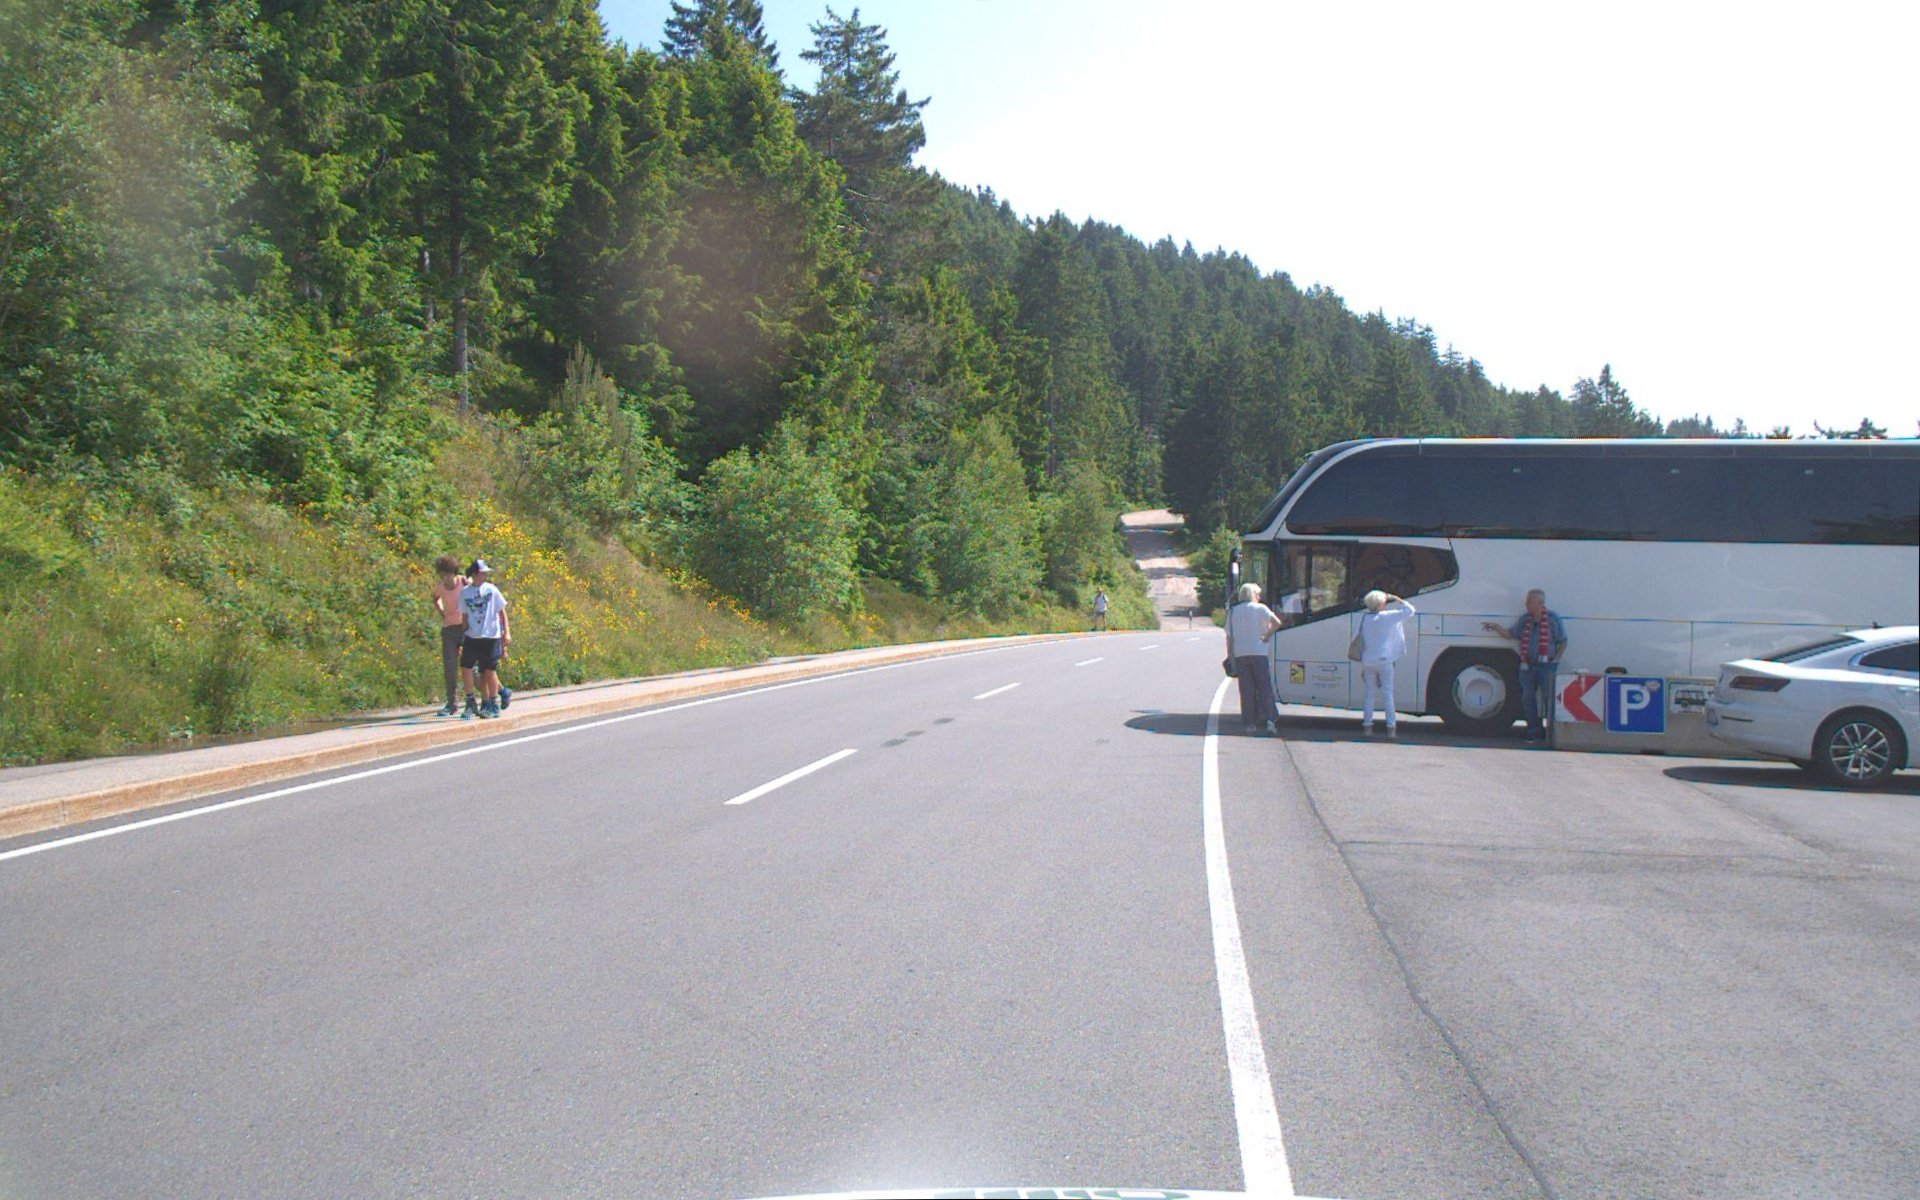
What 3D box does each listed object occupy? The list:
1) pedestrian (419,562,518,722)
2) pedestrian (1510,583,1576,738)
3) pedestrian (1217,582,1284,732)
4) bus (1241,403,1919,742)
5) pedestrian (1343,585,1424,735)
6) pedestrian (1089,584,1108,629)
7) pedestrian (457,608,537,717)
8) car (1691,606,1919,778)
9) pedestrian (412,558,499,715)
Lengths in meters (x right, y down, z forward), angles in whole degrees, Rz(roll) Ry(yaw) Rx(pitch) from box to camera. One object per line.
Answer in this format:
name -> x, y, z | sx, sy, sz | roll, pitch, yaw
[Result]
pedestrian -> -4.950, 0.402, 16.682 | 0.568, 1.564, 0.880 | 0, 1, 16
pedestrian -> 6.458, 0.654, 18.335 | 0.630, 1.671, 0.745 | 0, 1, 15
pedestrian -> 3.303, 0.627, 18.838 | 0.692, 1.671, 0.745 | 0, 1, 5
bus -> 9.781, -0.317, 19.375 | 12.573, 3.640, 2.841 | 1, 0, 15
pedestrian -> 4.724, 0.649, 18.450 | 0.634, 1.623, 0.741 | 0, 1, 39
pedestrian -> 5.487, 0.257, 65.286 | 0.668, 1.777, 0.826 | 1, 0, 8
pedestrian -> -4.922, 0.655, 17.609 | 0.556, 1.121, 0.745 | 0, 1, 10
car -> 9.086, 0.838, 14.939 | 4.331, 1.420, 1.719 | 2, 1, 17
pedestrian -> -5.500, 0.382, 18.057 | 0.564, 1.671, 0.895 | 0, 1, 10
